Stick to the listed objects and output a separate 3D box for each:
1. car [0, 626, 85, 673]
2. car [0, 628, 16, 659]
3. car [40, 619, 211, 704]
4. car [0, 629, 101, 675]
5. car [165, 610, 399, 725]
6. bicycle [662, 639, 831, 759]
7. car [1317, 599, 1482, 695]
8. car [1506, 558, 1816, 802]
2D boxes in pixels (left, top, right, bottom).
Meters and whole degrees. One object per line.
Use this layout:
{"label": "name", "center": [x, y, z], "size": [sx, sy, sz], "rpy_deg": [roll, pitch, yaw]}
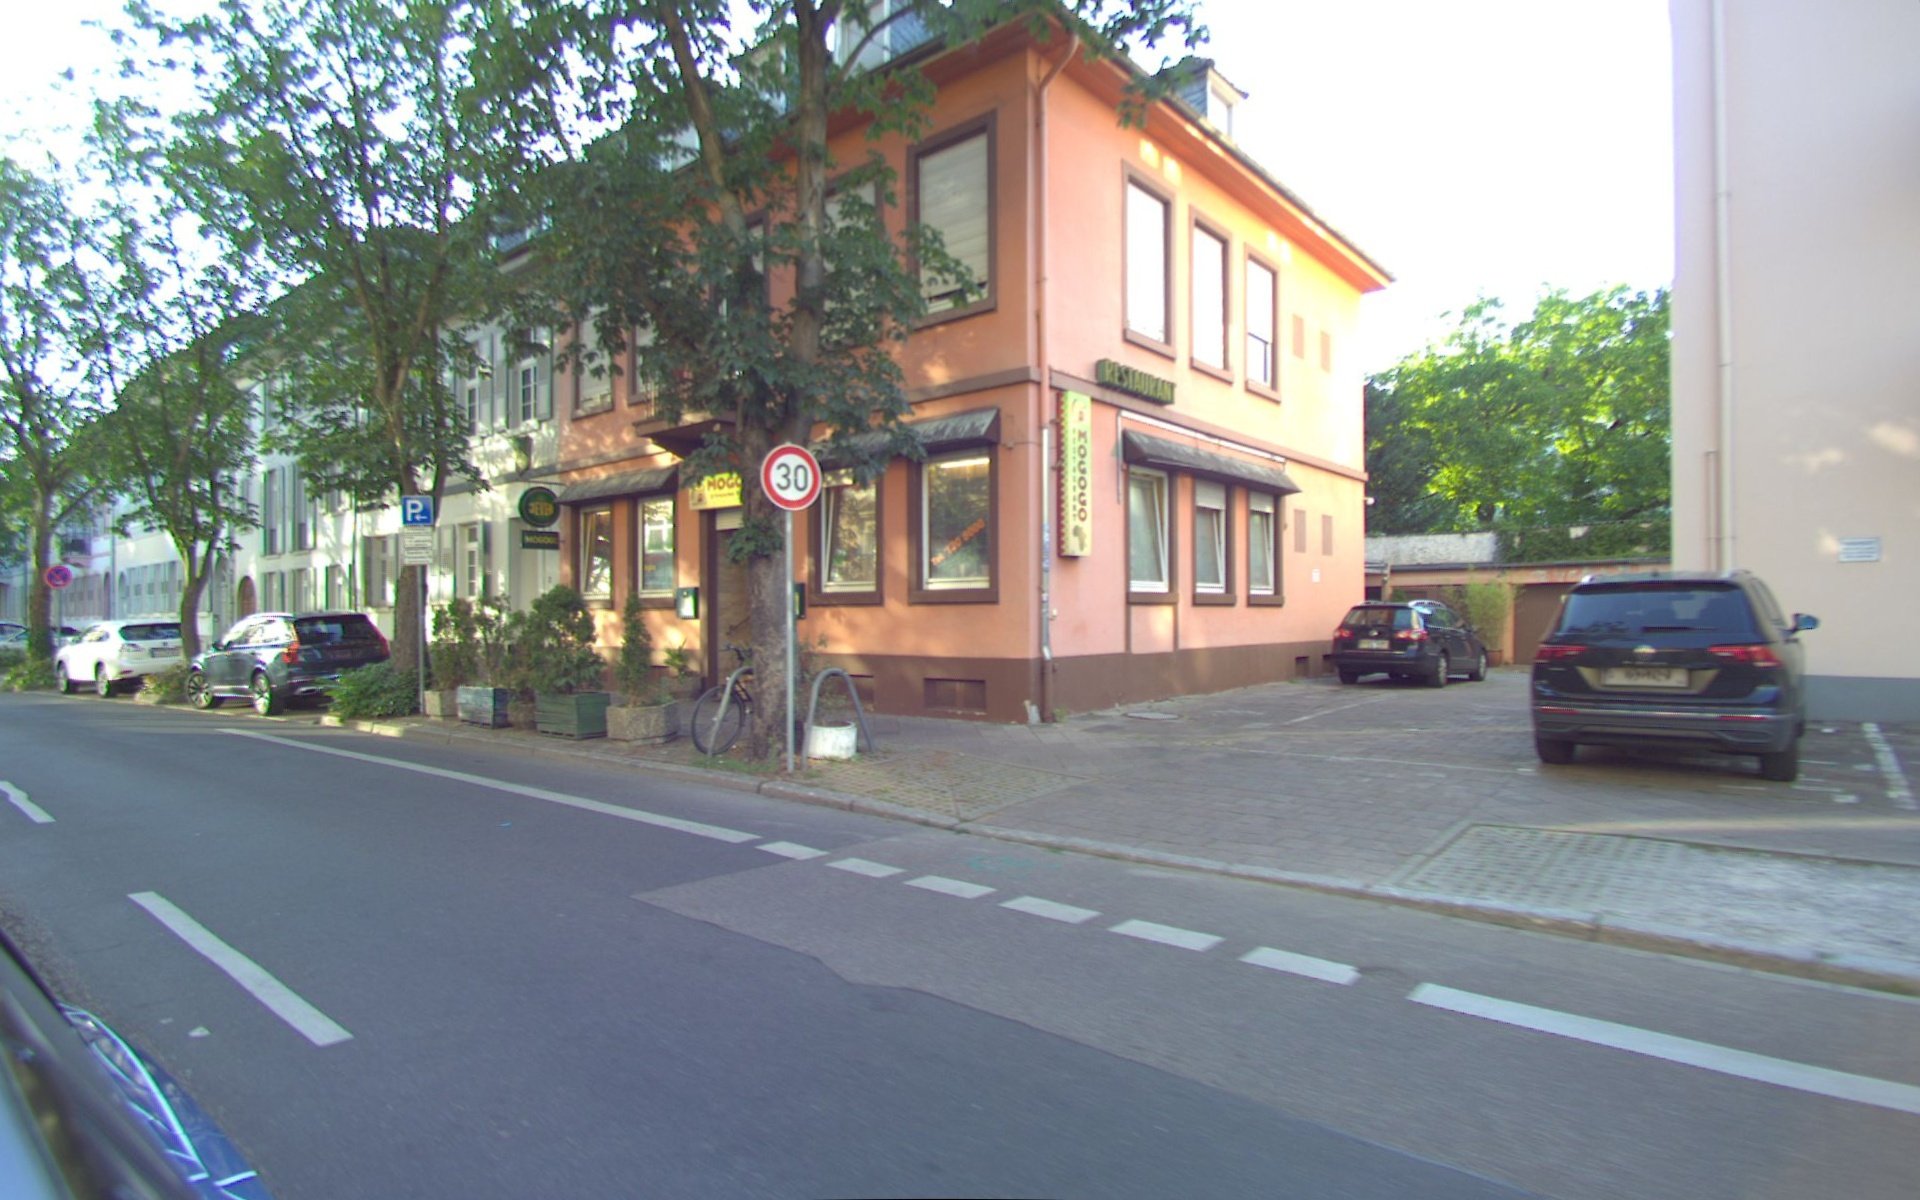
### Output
{"label": "car", "center": [-35.659, 1.836, 37.825], "size": [1.798, 1.703, 4.179], "rpy_deg": [-1, -2, 38]}
{"label": "car", "center": [-49.391, 2.164, 49.712], "size": [1.798, 1.519, 4.179], "rpy_deg": [-1, -2, 38]}
{"label": "car", "center": [-19.593, 1.377, 23.696], "size": [4.645, 1.680, 1.813], "rpy_deg": [-1, 2, 35]}
{"label": "car", "center": [-33.505, 1.842, 36.126], "size": [1.801, 1.557, 4.172], "rpy_deg": [-2, -2, 43]}
{"label": "car", "center": [-12.630, 1.163, 18.735], "size": [5.036, 1.772, 1.813], "rpy_deg": [-1, 2, 35]}
{"label": "bicycle", "center": [-2.224, 0.996, 10.770], "size": [0.609, 1.112, 1.851], "rpy_deg": [-1, -1, 34]}
{"label": "car", "center": [8.156, 0.806, 18.625], "size": [1.884, 1.567, 3.763], "rpy_deg": [-2, -1, 38]}
{"label": "car", "center": [6.501, 0.521, 9.241], "size": [1.862, 1.678, 4.375], "rpy_deg": [-2, 0, 39]}
